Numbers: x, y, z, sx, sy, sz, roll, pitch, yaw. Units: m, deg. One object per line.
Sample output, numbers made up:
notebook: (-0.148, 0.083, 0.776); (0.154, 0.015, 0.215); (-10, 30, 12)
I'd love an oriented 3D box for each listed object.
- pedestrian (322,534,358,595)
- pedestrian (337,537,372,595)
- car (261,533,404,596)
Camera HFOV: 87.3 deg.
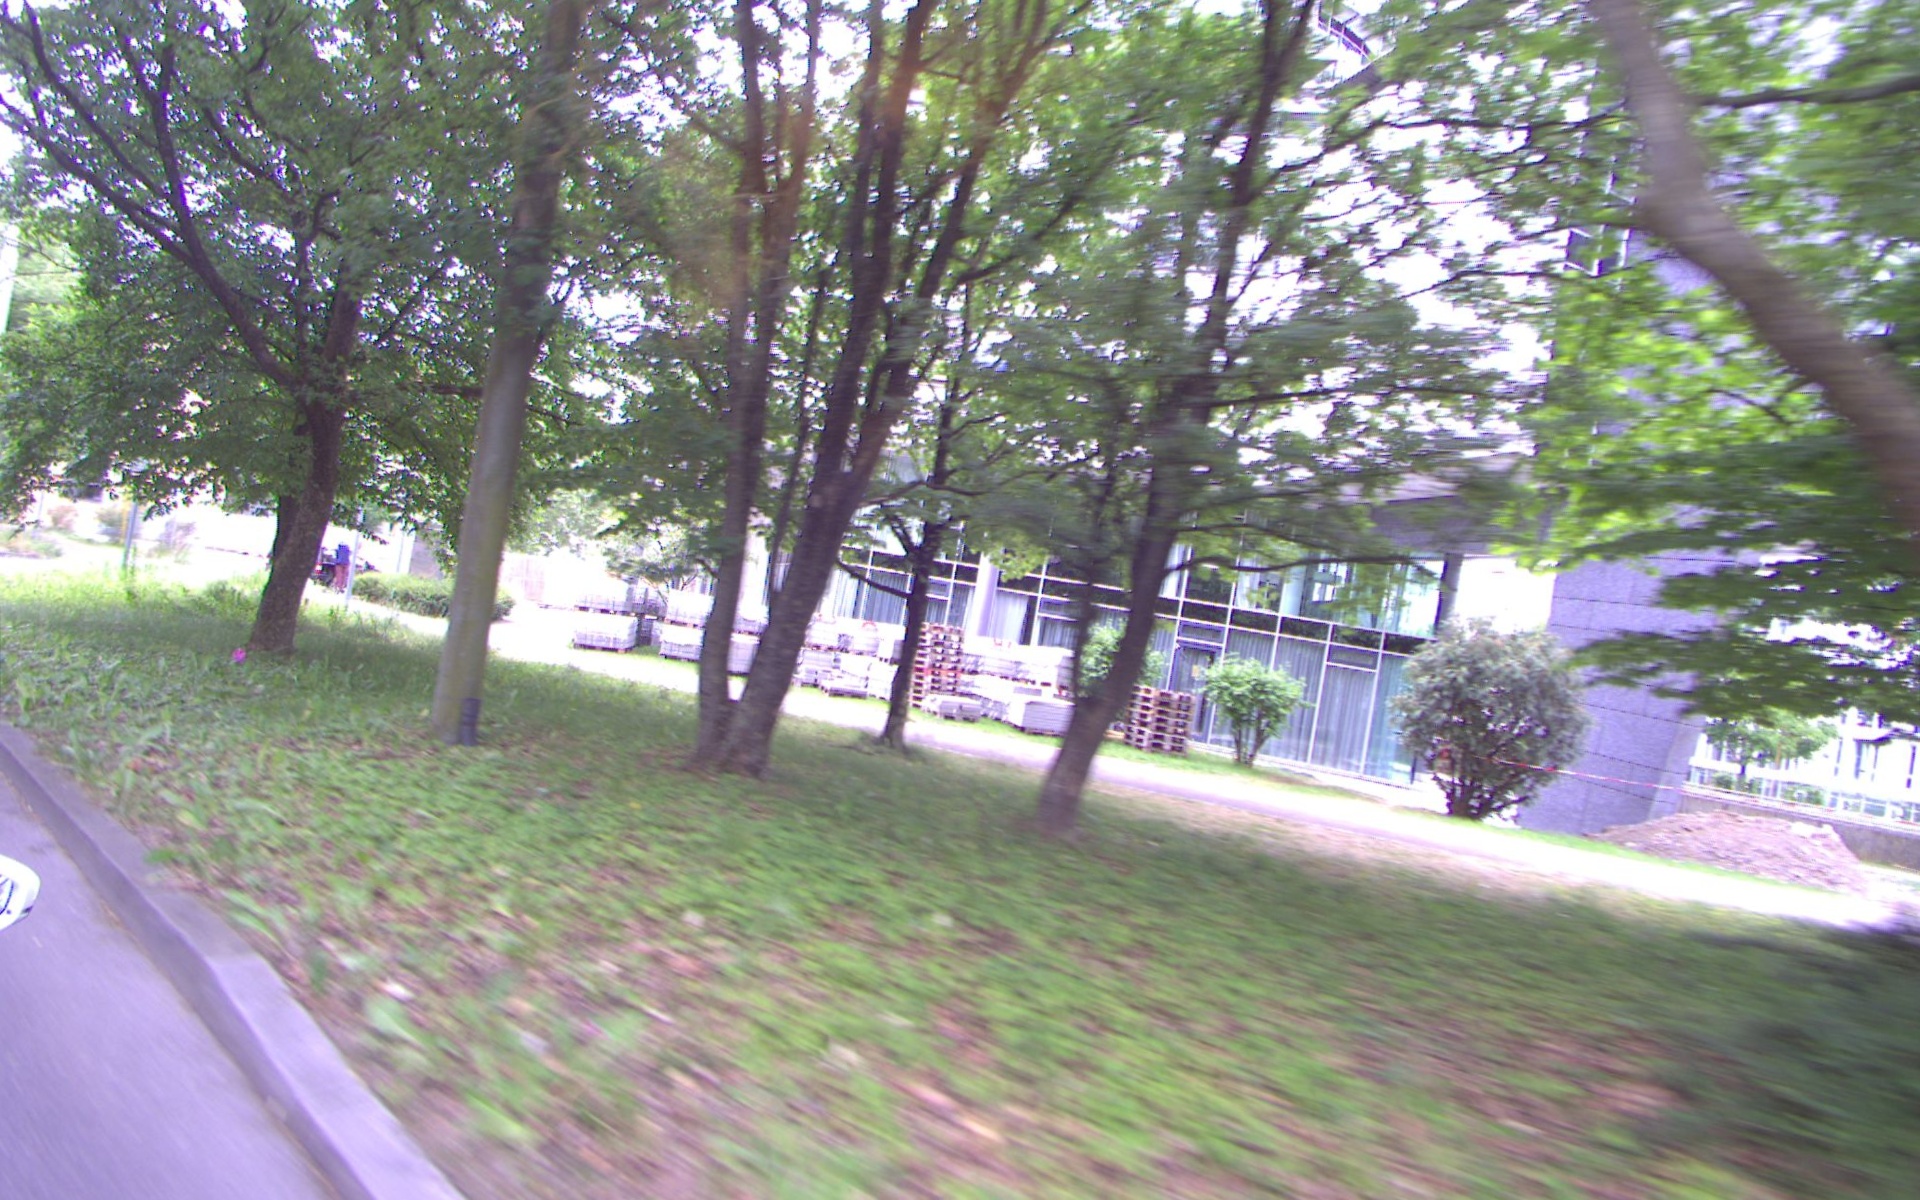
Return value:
pedestrian: (-19.128, -1.082, 31.034); (0.573, 1.776, 0.474); (10, 2, 10)
pedestrian: (-19.151, -1.060, 31.822); (0.526, 1.747, 0.498); (10, 2, 10)
car: (-20.358, -1.086, 32.923); (1.838, 1.534, 4.741); (8, -2, -4)
